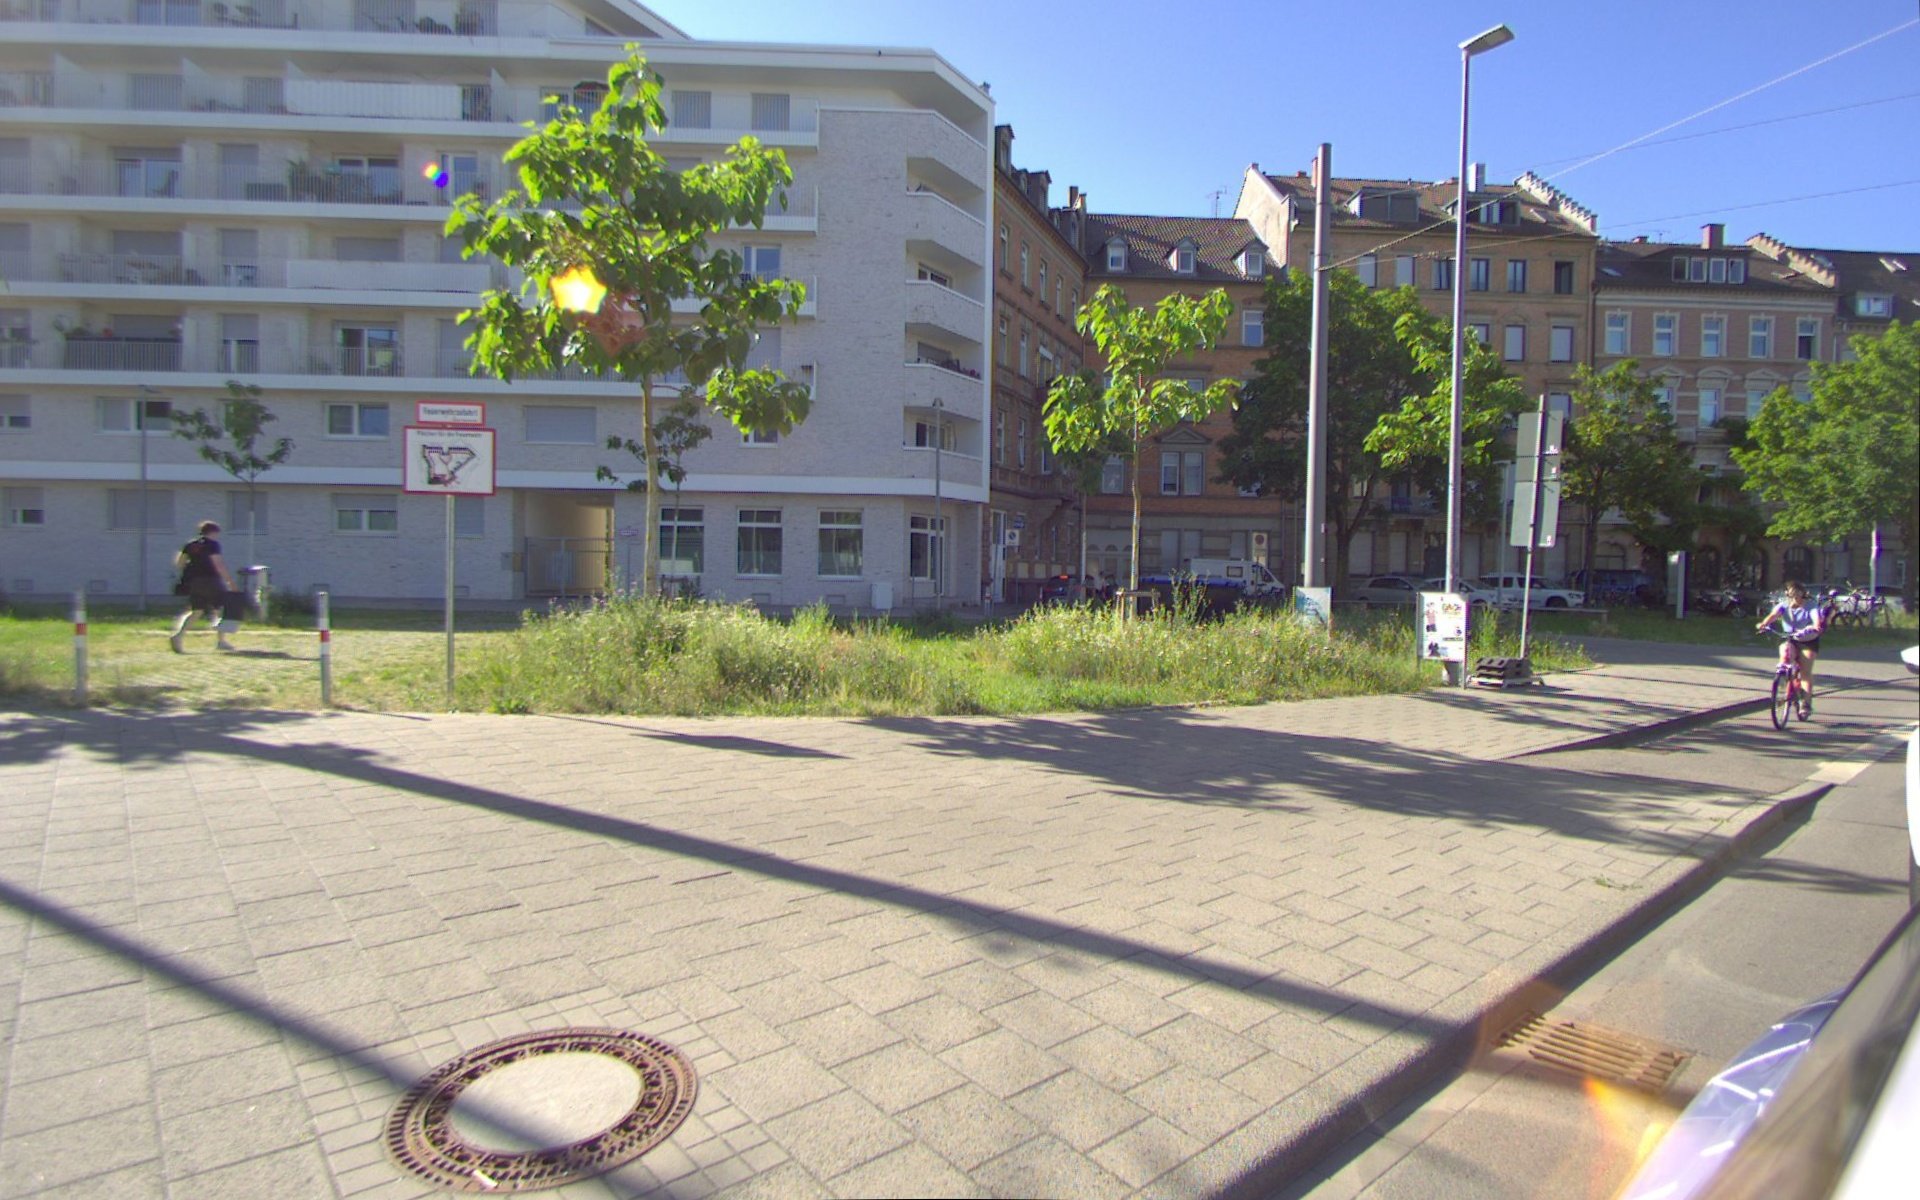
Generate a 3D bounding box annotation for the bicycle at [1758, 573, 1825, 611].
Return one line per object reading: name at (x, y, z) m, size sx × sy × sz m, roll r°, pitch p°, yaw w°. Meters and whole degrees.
bicycle at (29.272, -0.291, 35.681) m, size 0.651 × 1.284 × 2.202 m, roll 0°, pitch 0°, yaw 4°

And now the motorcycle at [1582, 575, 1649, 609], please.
motorcycle at (26.025, -0.327, 40.233) m, size 0.649 × 1.293 × 2.324 m, roll 0°, pitch 0°, yaw -18°

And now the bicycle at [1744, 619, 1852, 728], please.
bicycle at (9.568, 0.789, 11.530) m, size 1.789 × 1.085 × 0.668 m, roll 0°, pitch 2°, yaw -42°

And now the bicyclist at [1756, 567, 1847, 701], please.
bicyclist at (9.617, 0.361, 11.557) m, size 0.924 × 1.454 × 0.668 m, roll 0°, pitch 1°, yaw -43°

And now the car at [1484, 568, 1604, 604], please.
car at (22.327, -0.577, 38.780) m, size 1.513 × 1.267 × 3.700 m, roll -1°, pitch 3°, yaw -39°

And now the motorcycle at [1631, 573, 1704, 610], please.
motorcycle at (26.152, -0.320, 37.476) m, size 0.649 × 1.339 × 2.208 m, roll 0°, pitch 0°, yaw -23°

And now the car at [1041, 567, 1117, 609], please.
car at (4.565, -0.505, 38.304) m, size 1.811 × 1.444 × 4.359 m, roll 1°, pitch 2°, yaw 21°

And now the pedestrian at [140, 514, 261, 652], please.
pedestrian at (-10.022, -0.235, 13.390) m, size 0.829 × 1.717 × 0.985 m, roll 2°, pitch 2°, yaw 2°

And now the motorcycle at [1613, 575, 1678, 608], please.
motorcycle at (27.486, -0.334, 40.618) m, size 0.649 × 1.284 × 2.209 m, roll 0°, pitch 0°, yaw -18°

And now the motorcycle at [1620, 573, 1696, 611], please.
motorcycle at (25.337, -0.305, 36.787) m, size 0.650 × 1.347 × 2.207 m, roll 0°, pitch 0°, yaw -28°

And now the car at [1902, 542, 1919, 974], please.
car at (5.868, 0.608, 4.723) m, size 4.323 × 1.667 × 1.840 m, roll 0°, pitch 0°, yaw -43°

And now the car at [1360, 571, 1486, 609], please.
car at (17.347, -0.421, 38.114) m, size 1.648 × 1.267 × 4.170 m, roll 0°, pitch 3°, yaw -28°

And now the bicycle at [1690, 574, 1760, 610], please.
bicycle at (28.368, -0.309, 37.572) m, size 0.649 × 1.284 × 2.208 m, roll 0°, pitch 0°, yaw -11°

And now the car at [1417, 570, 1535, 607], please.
car at (19.670, -0.467, 38.725) m, size 1.648 × 1.267 × 3.709 m, roll 0°, pitch 3°, yaw -28°

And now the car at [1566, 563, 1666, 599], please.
car at (30.873, -0.920, 47.657) m, size 3.631 × 1.607 × 1.552 m, roll 1°, pitch 2°, yaw 0°

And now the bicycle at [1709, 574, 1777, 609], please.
bicycle at (29.722, -0.325, 38.471) m, size 0.649 × 1.284 × 2.208 m, roll 0°, pitch 0°, yaw -9°

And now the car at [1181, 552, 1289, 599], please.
car at (12.659, -1.154, 46.790) m, size 4.416 × 2.062 × 2.054 m, roll 1°, pitch 2°, yaw 0°

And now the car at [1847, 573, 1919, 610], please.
car at (37.820, -0.328, 39.969) m, size 1.649 × 1.423 × 3.832 m, roll -1°, pitch 3°, yaw -32°

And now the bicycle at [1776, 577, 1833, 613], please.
bicycle at (30.939, -0.184, 37.118) m, size 0.653 × 1.284 × 2.196 m, roll 0°, pitch 0°, yaw 12°

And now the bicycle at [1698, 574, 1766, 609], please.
bicycle at (29.079, -0.318, 38.159) m, size 0.649 × 1.284 × 2.208 m, roll 0°, pitch 0°, yaw -9°

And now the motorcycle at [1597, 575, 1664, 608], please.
motorcycle at (26.695, -0.335, 40.364) m, size 0.649 × 1.300 × 2.324 m, roll 0°, pitch 0°, yaw -18°

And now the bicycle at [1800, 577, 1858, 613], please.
bicycle at (32.033, -0.192, 37.341) m, size 0.653 × 1.284 × 2.196 m, roll 0°, pitch 0°, yaw 12°

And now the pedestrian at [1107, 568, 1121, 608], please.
pedestrian at (5.774, -0.459, 37.925) m, size 0.500 × 1.474 × 0.480 m, roll 0°, pitch 0°, yaw 11°

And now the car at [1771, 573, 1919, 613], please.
car at (34.684, -0.319, 39.600) m, size 1.651 × 1.423 × 4.324 m, roll -1°, pitch 3°, yaw -38°

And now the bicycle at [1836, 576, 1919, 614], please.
bicycle at (31.628, -0.165, 34.771) m, size 2.180 × 1.284 × 0.657 m, roll 0°, pitch 0°, yaw 25°
